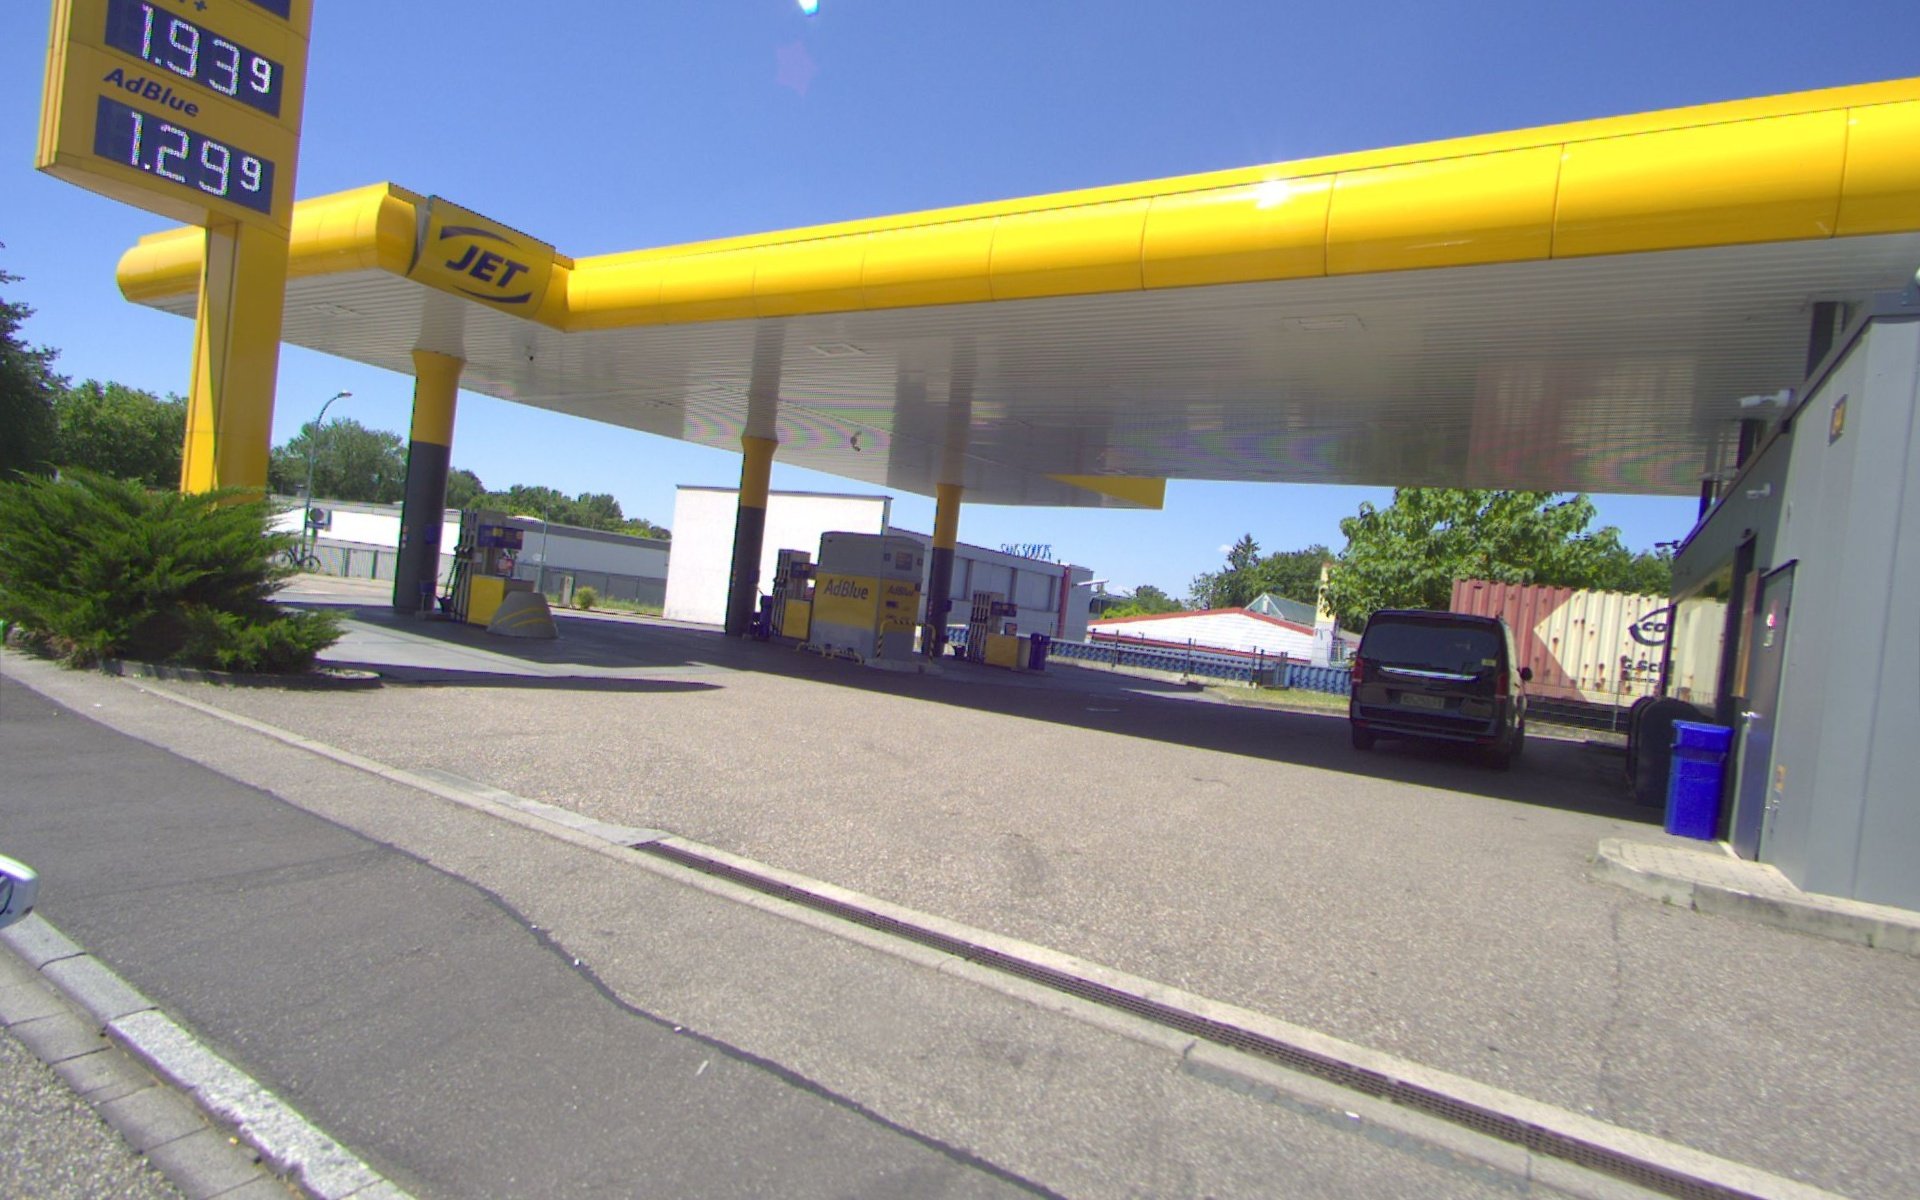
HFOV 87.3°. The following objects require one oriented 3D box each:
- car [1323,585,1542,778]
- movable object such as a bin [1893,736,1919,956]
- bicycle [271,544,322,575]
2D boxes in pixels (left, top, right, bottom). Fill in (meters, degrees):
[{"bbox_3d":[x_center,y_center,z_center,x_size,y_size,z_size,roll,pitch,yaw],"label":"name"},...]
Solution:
[{"bbox_3d":[6.723,1.114,13.943,1.967,1.999,5.057,7,-1,32],"label":"car"},{"bbox_3d":[5.397,1.126,4.460,1.443,1.456,1.435,7,1,31],"label":"movable object such as a bin"},{"bbox_3d":[-28.473,-1.737,43.196,0.461,1.110,1.694,6,-1,37],"label":"bicycle"}]
